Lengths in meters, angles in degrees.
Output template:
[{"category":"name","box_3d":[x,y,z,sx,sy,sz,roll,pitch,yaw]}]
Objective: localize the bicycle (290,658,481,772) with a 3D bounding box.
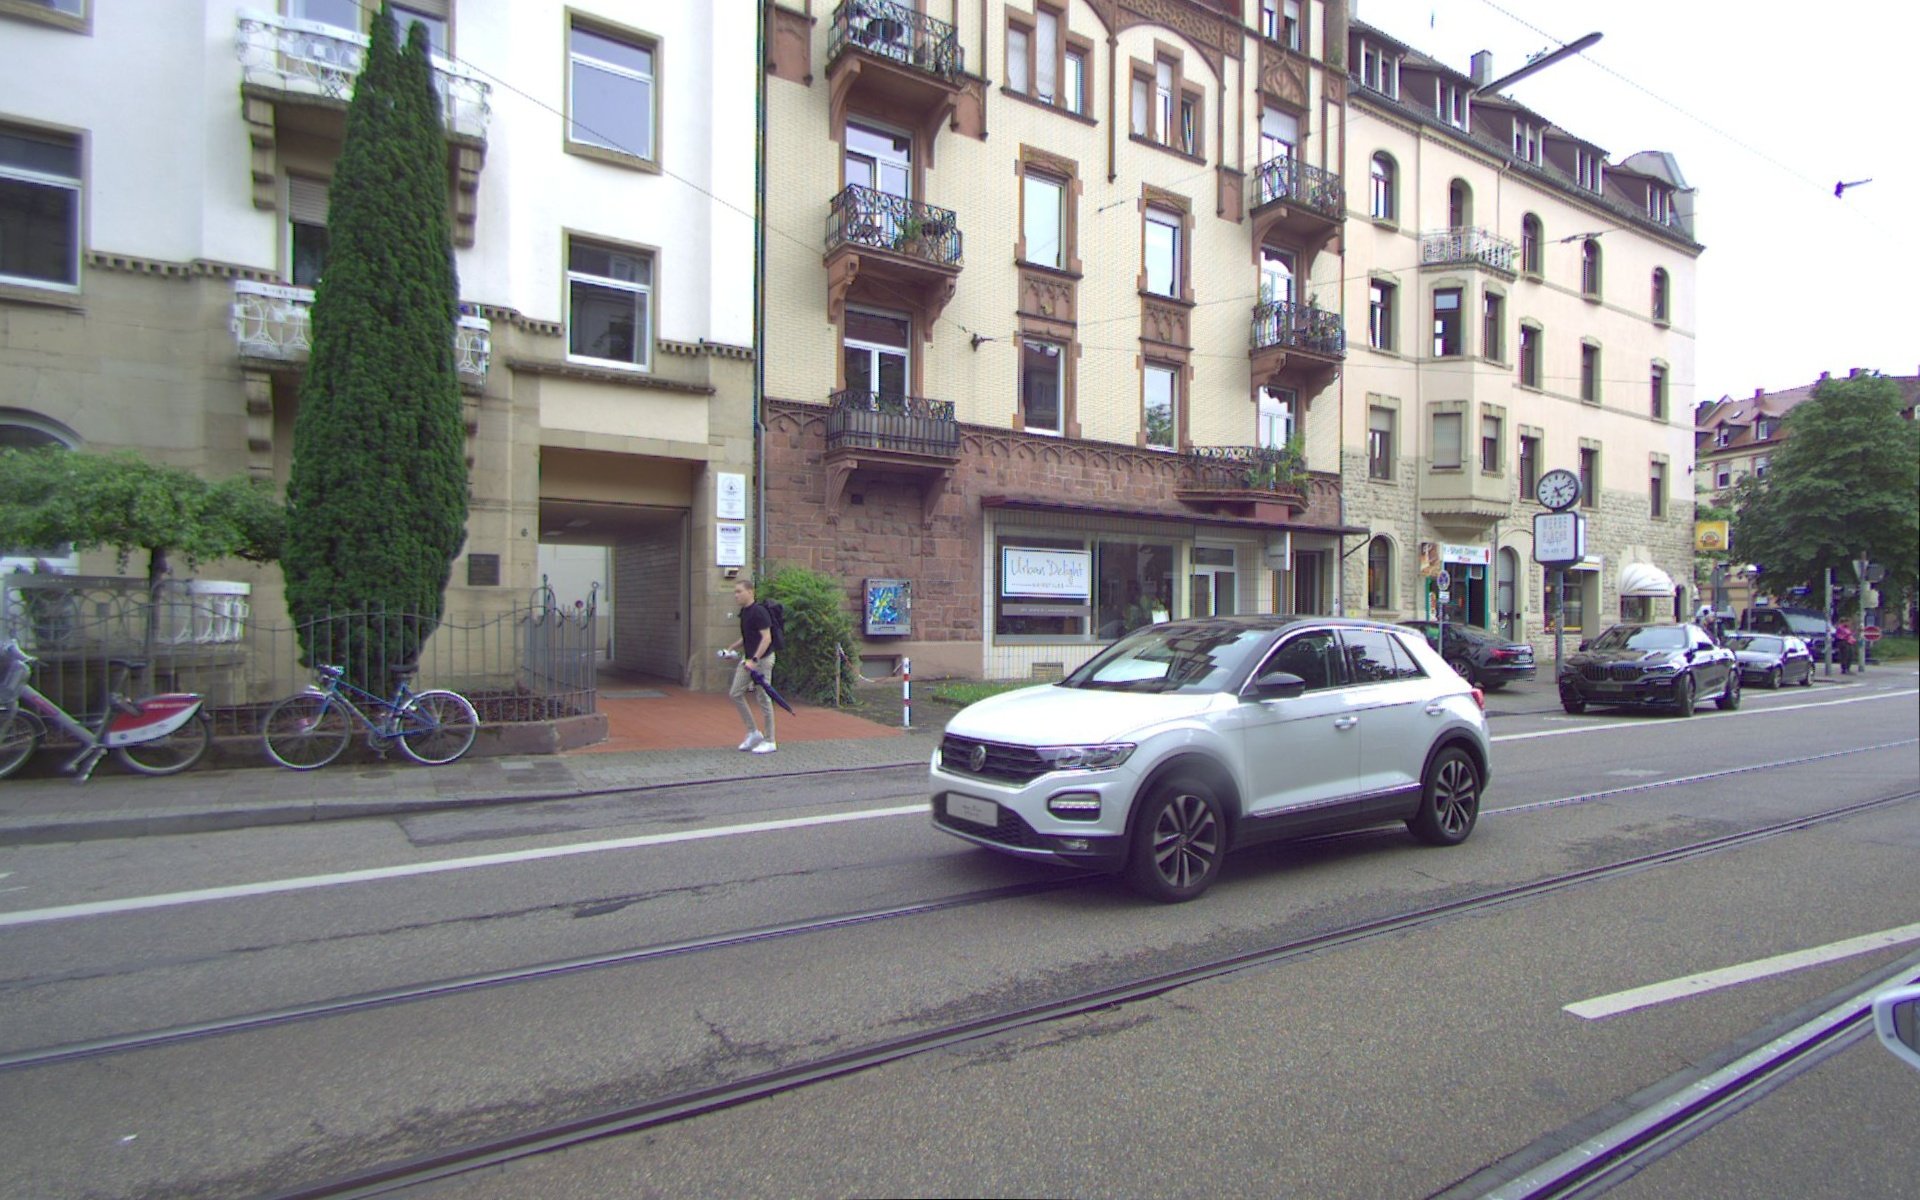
[{"category":"bicycle","box_3d":[-5.253,1.025,9.245,1.499,0.950,0.330,1,-1,-33]}]

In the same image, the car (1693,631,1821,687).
[{"category":"car","box_3d":[22.190,1.593,27.922,4.087,1.380,1.638,1,1,-34]}]

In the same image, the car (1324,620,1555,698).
[{"category":"car","box_3d":[10.816,1.268,22.973,1.862,1.389,4.394,1,1,-36]}]

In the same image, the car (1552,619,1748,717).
[{"category":"car","box_3d":[13.222,1.246,19.138,4.849,1.632,1.867,2,-4,-41]}]

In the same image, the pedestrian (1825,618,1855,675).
[{"category":"pedestrian","box_3d":[29.104,1.533,33.212,0.603,1.867,0.619,1,-1,-34]}]

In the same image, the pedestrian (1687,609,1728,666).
[{"category":"pedestrian","box_3d":[27.307,1.377,36.708,0.826,2.040,0.969,1,-1,-32]}]

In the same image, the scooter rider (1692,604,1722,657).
[{"category":"scooter rider","box_3d":[29.231,1.184,39.311,0.636,2.040,0.752,1,-1,-30]}]

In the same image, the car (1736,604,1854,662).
[{"category":"car","box_3d":[37.834,1.473,45.720,2.142,2.449,5.383,0,-1,16]}]

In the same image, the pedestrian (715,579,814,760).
[{"category":"pedestrian","box_3d":[-2.127,0.730,10.921,0.873,1.868,0.664,1,-1,-33]}]

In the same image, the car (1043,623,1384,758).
[{"category":"car","box_3d":[3.420,1.058,13.191,4.559,1.504,1.737,1,-1,-33]}]

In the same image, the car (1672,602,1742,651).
[{"category":"car","box_3d":[41.174,1.472,55.524,2.145,2.561,5.375,0,-1,26]}]

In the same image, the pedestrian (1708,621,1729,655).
[{"category":"pedestrian","box_3d":[38.678,1.941,51.230,0.686,1.738,0.552,0,-1,18]}]

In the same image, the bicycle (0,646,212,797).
[{"category":"bicycle","box_3d":[-7.017,0.939,8.041,1.614,1.116,0.381,1,-1,-44]}]

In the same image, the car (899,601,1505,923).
[{"category":"car","box_3d":[1.696,0.824,6.565,3.890,1.516,1.688,1,-2,-34]}]
